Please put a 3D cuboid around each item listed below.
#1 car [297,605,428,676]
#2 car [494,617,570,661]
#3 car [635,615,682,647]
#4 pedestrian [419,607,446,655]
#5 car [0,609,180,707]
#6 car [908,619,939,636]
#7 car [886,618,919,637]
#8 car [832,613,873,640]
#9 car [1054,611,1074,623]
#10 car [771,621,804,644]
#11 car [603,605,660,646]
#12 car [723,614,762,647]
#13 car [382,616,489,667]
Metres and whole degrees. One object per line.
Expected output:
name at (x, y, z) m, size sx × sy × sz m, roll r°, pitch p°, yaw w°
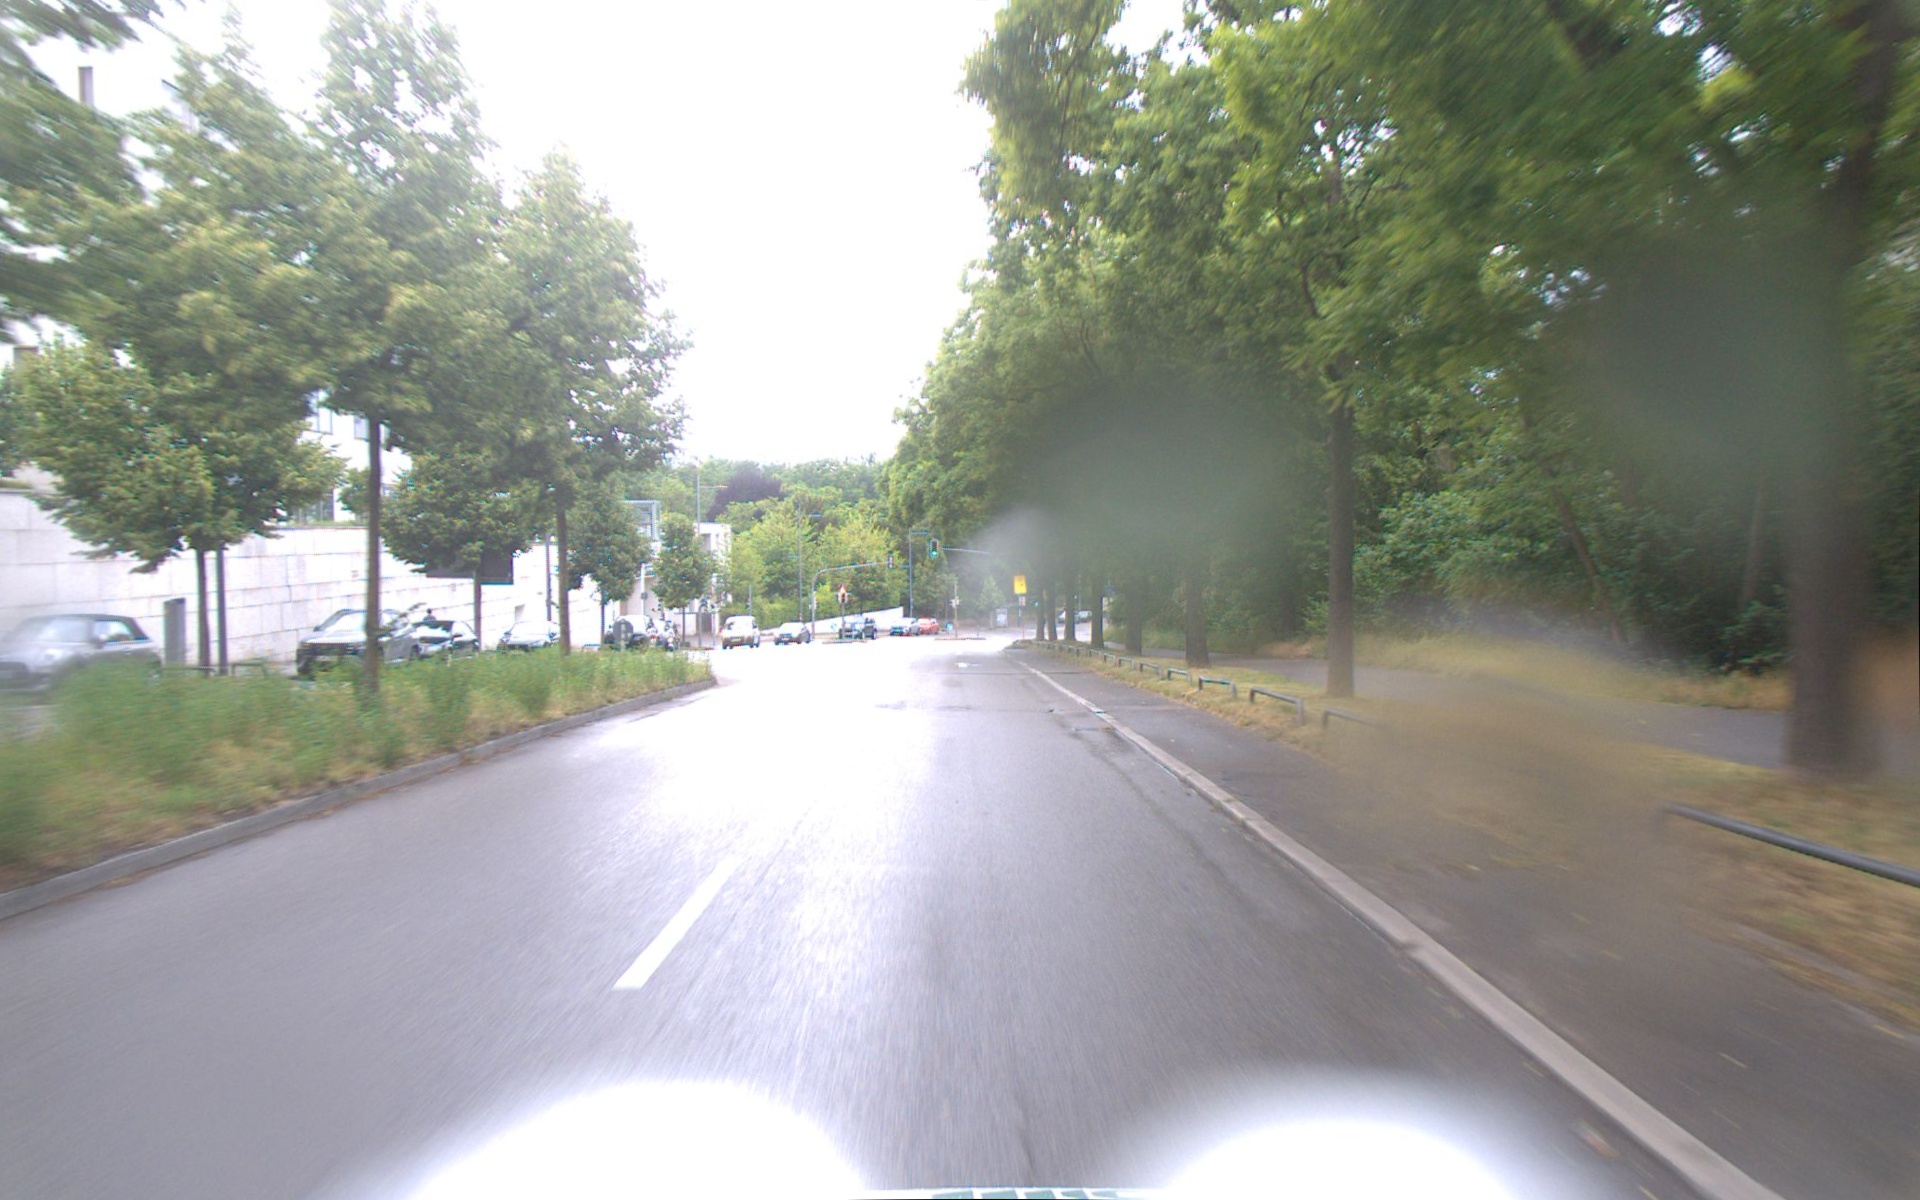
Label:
car at (-14.728, 1.002, 41.018) m, size 1.668 × 1.649 × 4.361 m, roll 0°, pitch -1°, yaw 0°
car at (-14.808, 1.345, 57.398) m, size 1.645 × 1.451 × 3.964 m, roll 1°, pitch -1°, yaw -1°
car at (-14.950, 1.545, 82.256) m, size 1.645 × 1.541 × 3.709 m, roll 1°, pitch -1°, yaw 0°
pedestrian at (-20.392, 1.192, 63.954) m, size 0.693 × 1.806 × 1.021 m, roll -1°, pitch -1°, yaw -1°
car at (-14.756, 0.899, 27.469) m, size 1.660 × 1.469 × 3.860 m, roll 1°, pitch 0°, yaw 2°
car at (-3.469, 2.625, 158.975) m, size 1.835 × 1.602 × 4.226 m, roll 2°, pitch 0°, yaw 15°
car at (-5.271, 2.528, 152.087) m, size 1.814 × 1.668 × 4.096 m, roll 3°, pitch 0°, yaw 16°
car at (-8.448, 2.067, 130.499) m, size 1.880 × 1.889 × 4.510 m, roll -4°, pitch -1°, yaw 13°
car at (13.320, 2.133, 211.101) m, size 1.677 × 1.486 × 3.751 m, roll 0°, pitch -1°, yaw 18°
car at (-11.525, 2.179, 110.831) m, size 1.734 × 1.405 × 4.189 m, roll -2°, pitch -1°, yaw 0°
car at (-15.139, 1.194, 76.432) m, size 1.819 × 1.812 × 4.594 m, roll -1°, pitch -1°, yaw -2°
car at (-12.175, 1.711, 92.891) m, size 1.675 × 1.777 × 4.336 m, roll -1°, pitch -1°, yaw -1°
car at (-14.781, 1.141, 46.855) m, size 1.660 × 1.384 × 4.163 m, roll 0°, pitch -1°, yaw 1°
